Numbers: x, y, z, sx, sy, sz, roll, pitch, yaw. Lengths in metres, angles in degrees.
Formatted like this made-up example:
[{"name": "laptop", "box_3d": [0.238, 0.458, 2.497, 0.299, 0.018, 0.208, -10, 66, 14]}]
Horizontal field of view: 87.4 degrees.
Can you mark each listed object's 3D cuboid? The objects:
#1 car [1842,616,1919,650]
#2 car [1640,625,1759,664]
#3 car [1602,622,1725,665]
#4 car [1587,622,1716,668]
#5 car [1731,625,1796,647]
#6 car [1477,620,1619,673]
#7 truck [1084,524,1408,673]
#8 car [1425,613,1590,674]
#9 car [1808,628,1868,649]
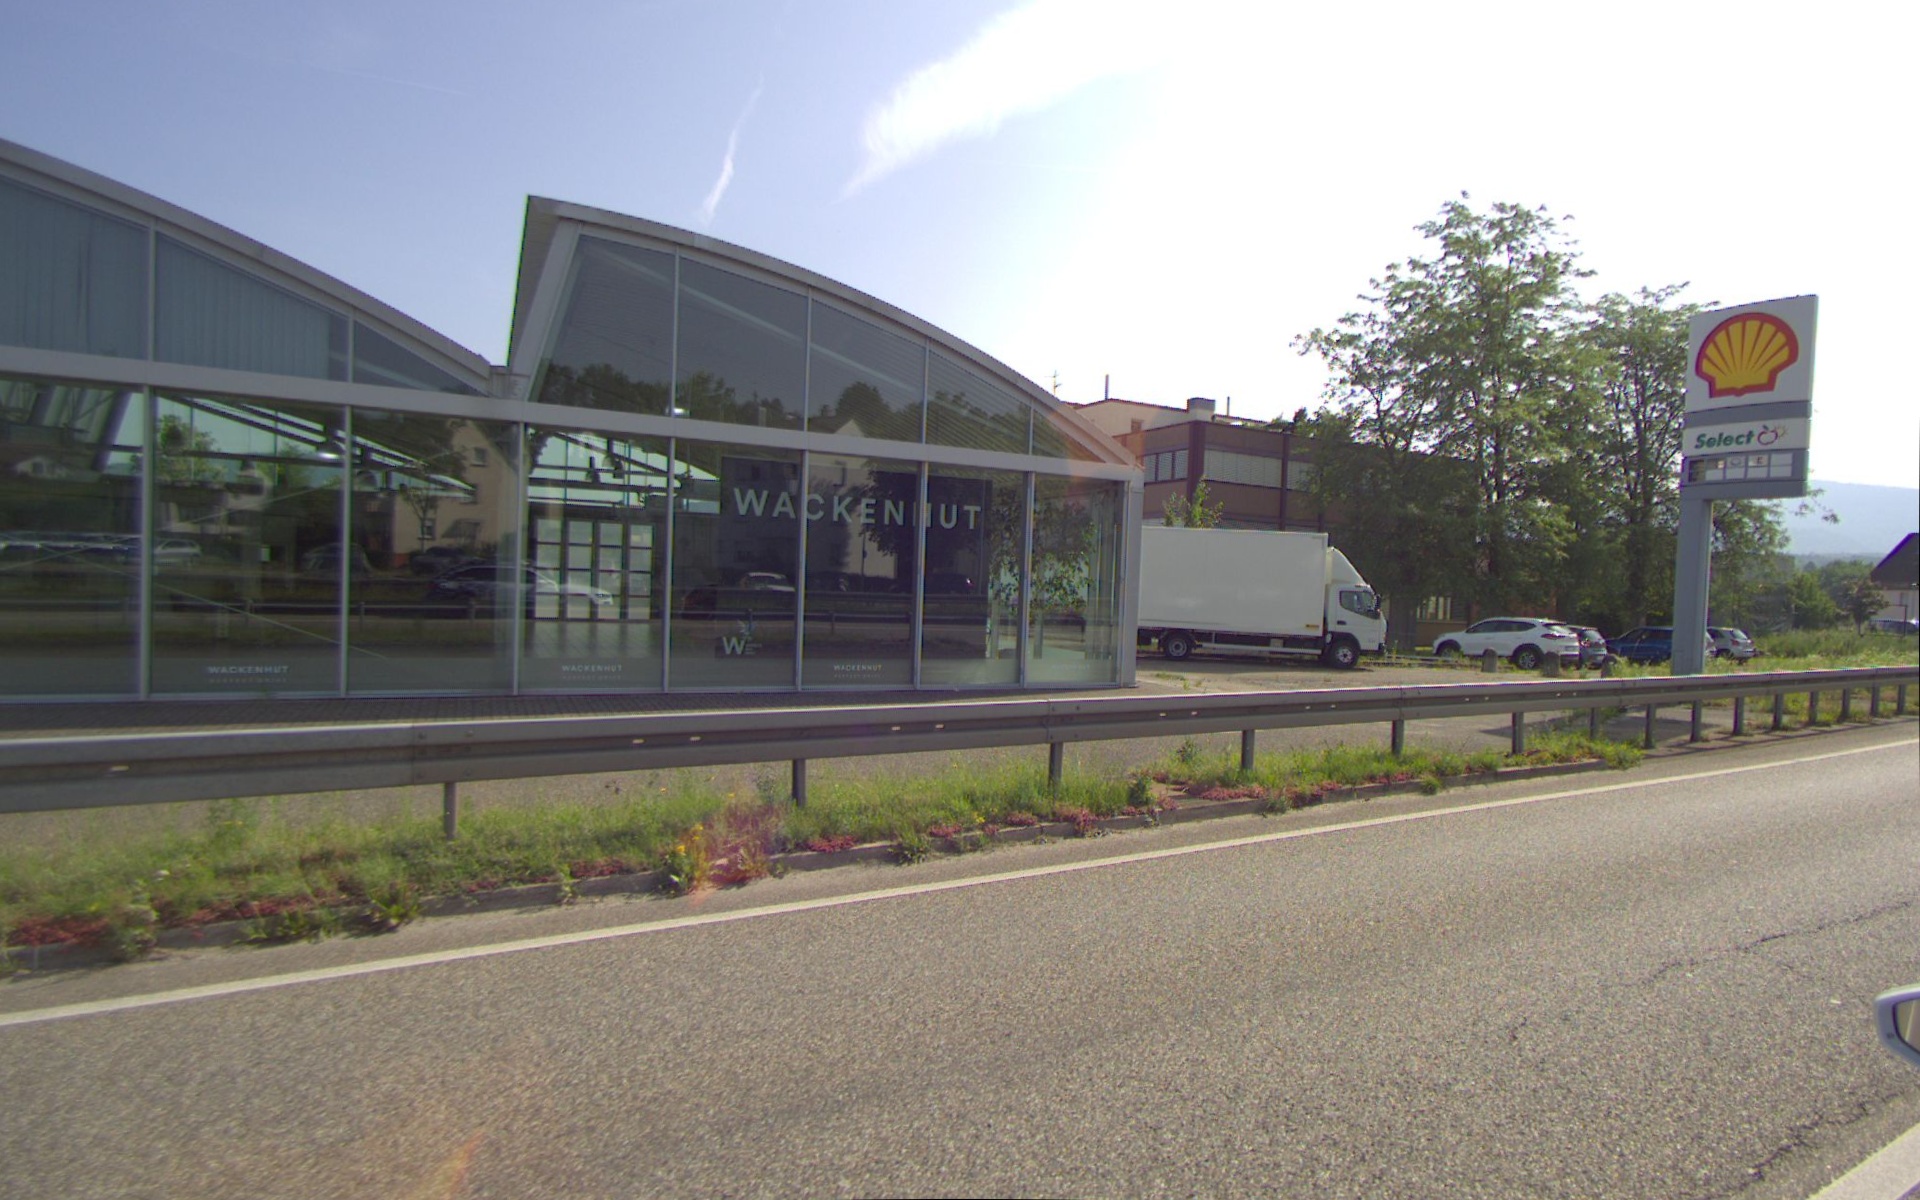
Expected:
[{"name": "car", "box_3d": [59.955, 2.091, 65.074, 1.959, 2.040, 4.908, 1, 0, 11]}, {"name": "car", "box_3d": [31.875, 1.886, 43.382, 1.842, 1.479, 3.724, 2, 0, -34]}, {"name": "car", "box_3d": [29.200, 1.780, 41.792, 1.834, 1.519, 3.733, 2, 1, -27]}, {"name": "car", "box_3d": [27.150, 1.747, 39.518, 1.912, 1.519, 3.724, 2, 1, -34]}, {"name": "car", "box_3d": [77.520, 3.458, 96.969, 1.840, 1.655, 4.536, 4, 0, -30]}, {"name": "car", "box_3d": [20.090, 1.555, 34.451, 1.913, 1.519, 3.721, 2, 1, -35]}, {"name": "truck", "box_3d": [7.573, -0.103, 27.533, 8.045, 3.604, 2.808, 2, 1, 10]}, {"name": "car", "box_3d": [17.833, 1.384, 32.925, 1.913, 1.677, 4.320, 2, 1, -35]}, {"name": "car", "box_3d": [89.678, 3.889, 102.644, 1.838, 1.655, 4.143, 4, 2, -26]}]
